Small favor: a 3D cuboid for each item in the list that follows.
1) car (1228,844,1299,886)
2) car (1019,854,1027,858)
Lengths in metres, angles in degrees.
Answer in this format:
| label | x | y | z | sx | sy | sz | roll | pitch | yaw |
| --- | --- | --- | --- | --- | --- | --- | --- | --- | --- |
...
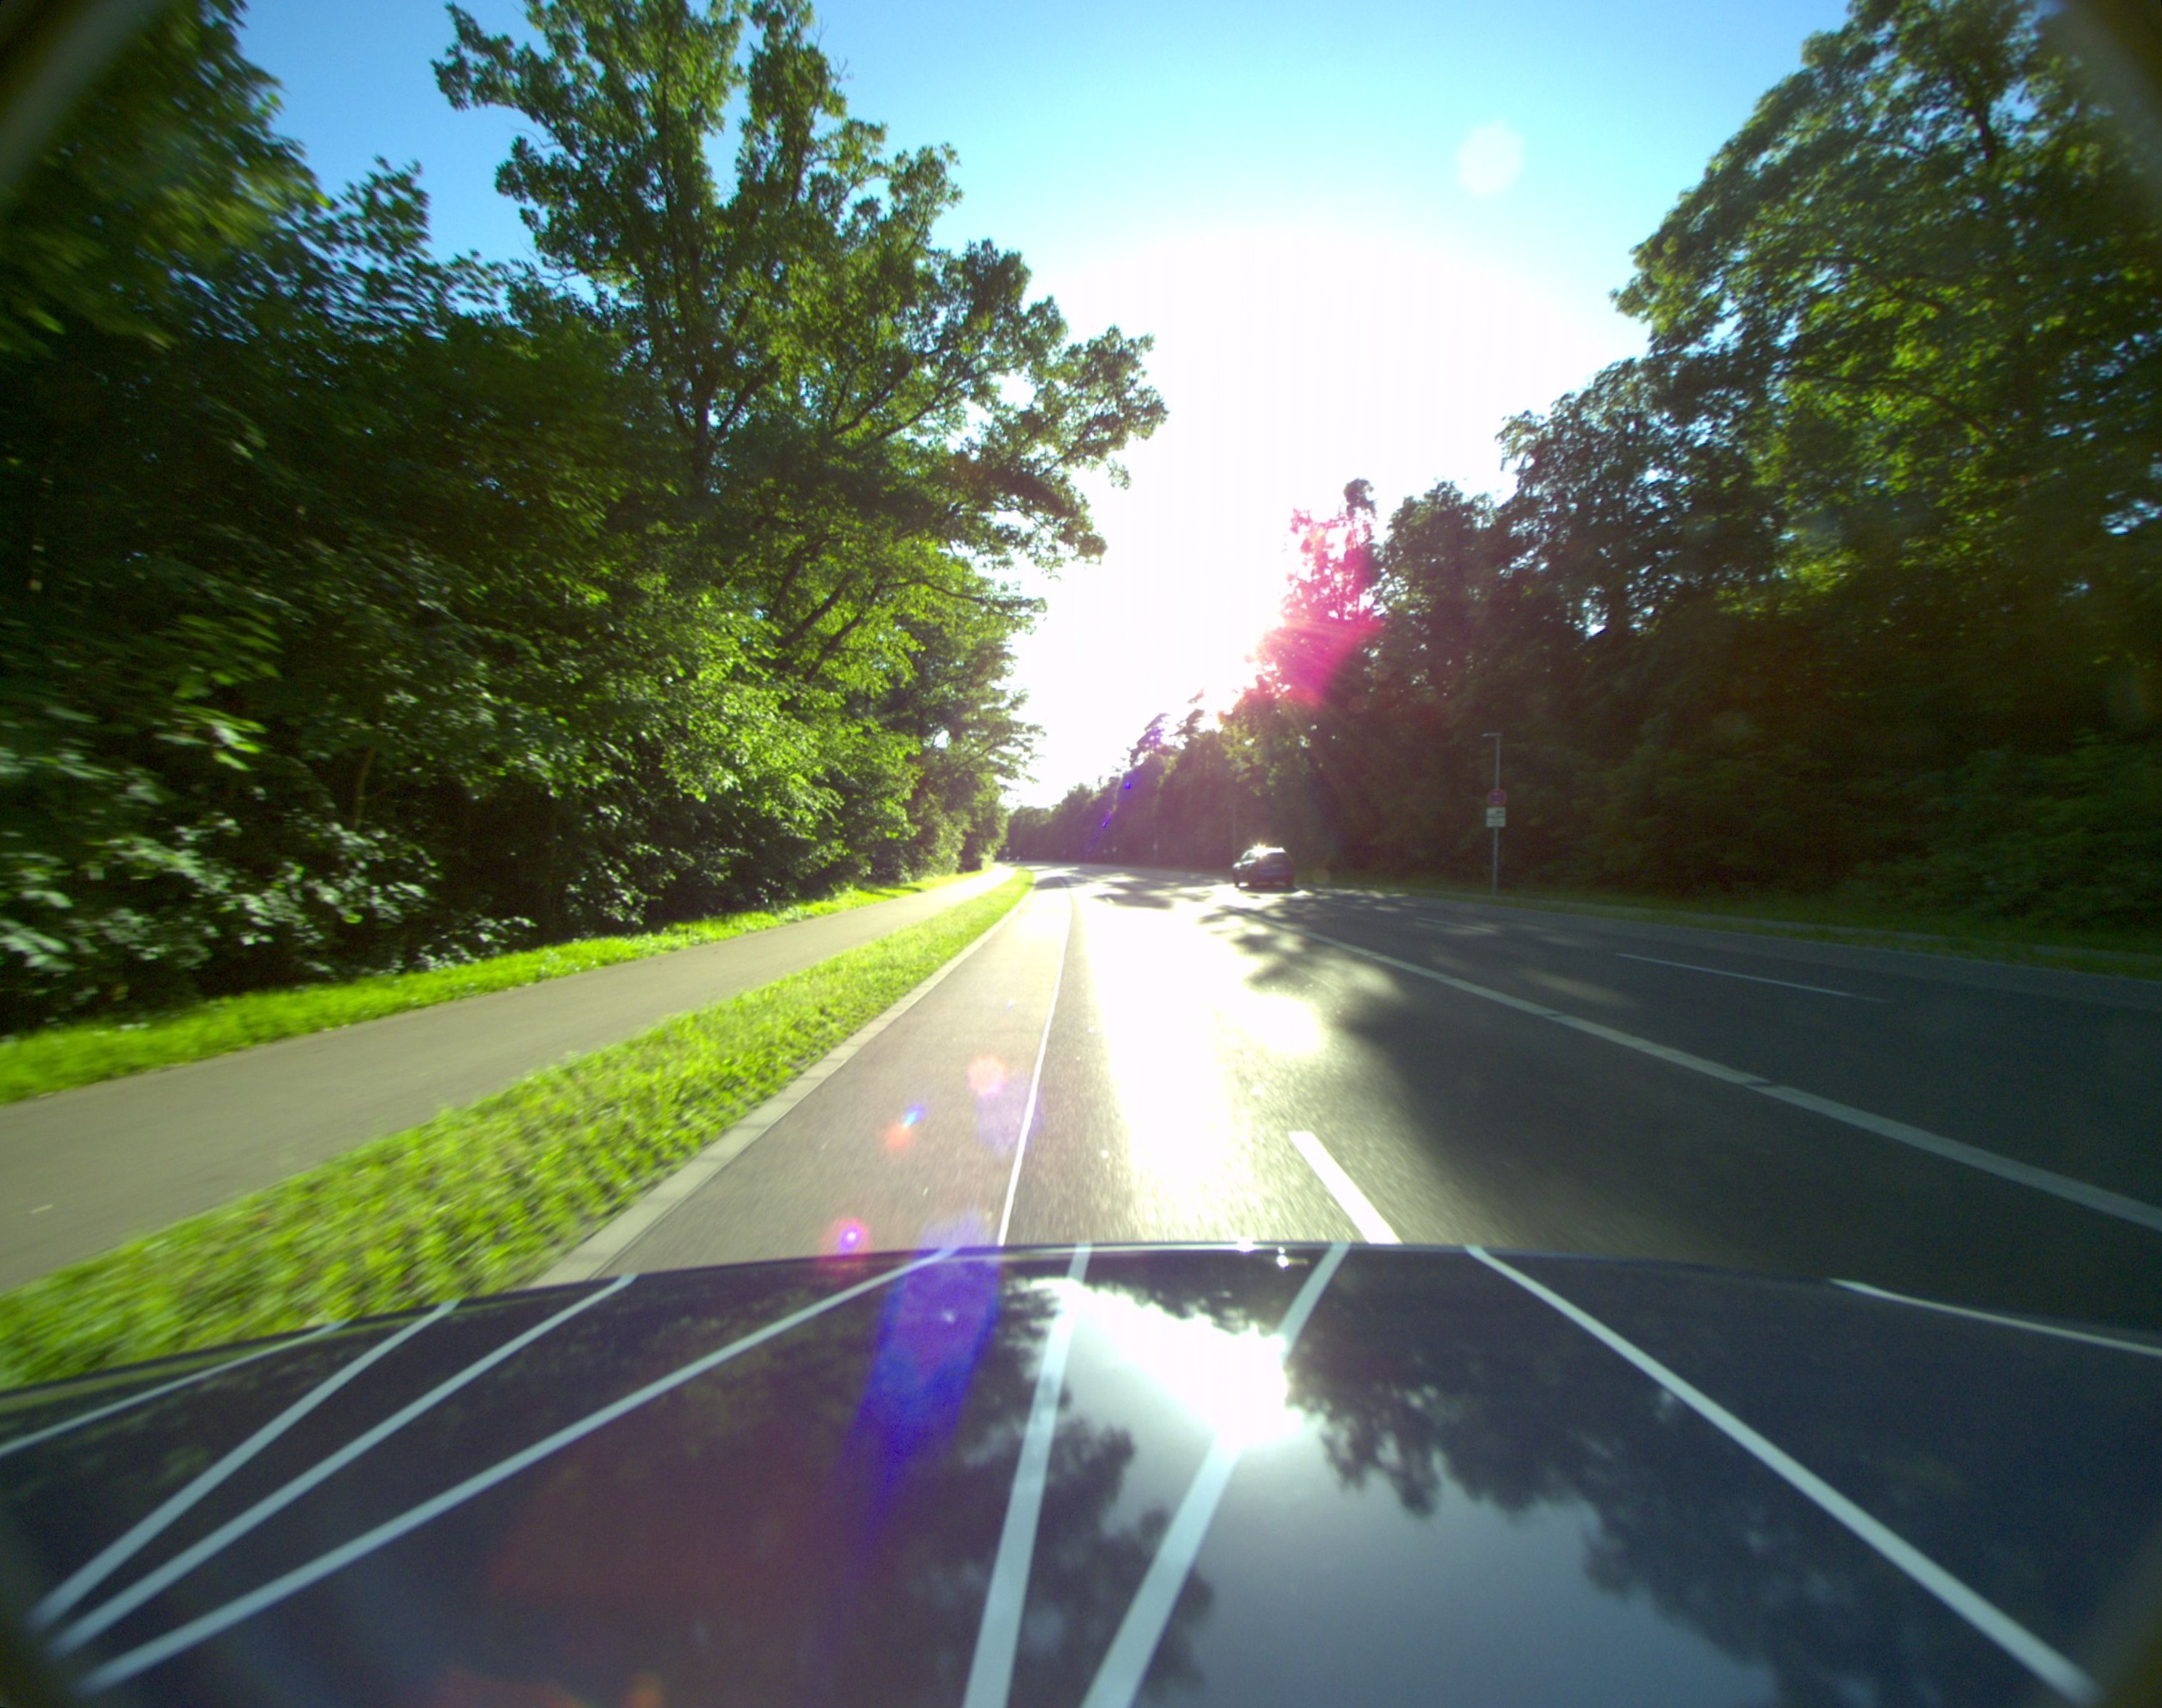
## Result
| label | x | y | z | sx | sy | sz | roll | pitch | yaw |
| --- | --- | --- | --- | --- | --- | --- | --- | --- | --- |
| car | 7.886 | 0.442 | 33.207 | 1.812 | 1.653 | 4.520 | -1 | 0 | -2 |
| car | -19.183 | 0.717 | 252.330 | 1.664 | 1.472 | 4.166 | -2 | 0 | -17 |
